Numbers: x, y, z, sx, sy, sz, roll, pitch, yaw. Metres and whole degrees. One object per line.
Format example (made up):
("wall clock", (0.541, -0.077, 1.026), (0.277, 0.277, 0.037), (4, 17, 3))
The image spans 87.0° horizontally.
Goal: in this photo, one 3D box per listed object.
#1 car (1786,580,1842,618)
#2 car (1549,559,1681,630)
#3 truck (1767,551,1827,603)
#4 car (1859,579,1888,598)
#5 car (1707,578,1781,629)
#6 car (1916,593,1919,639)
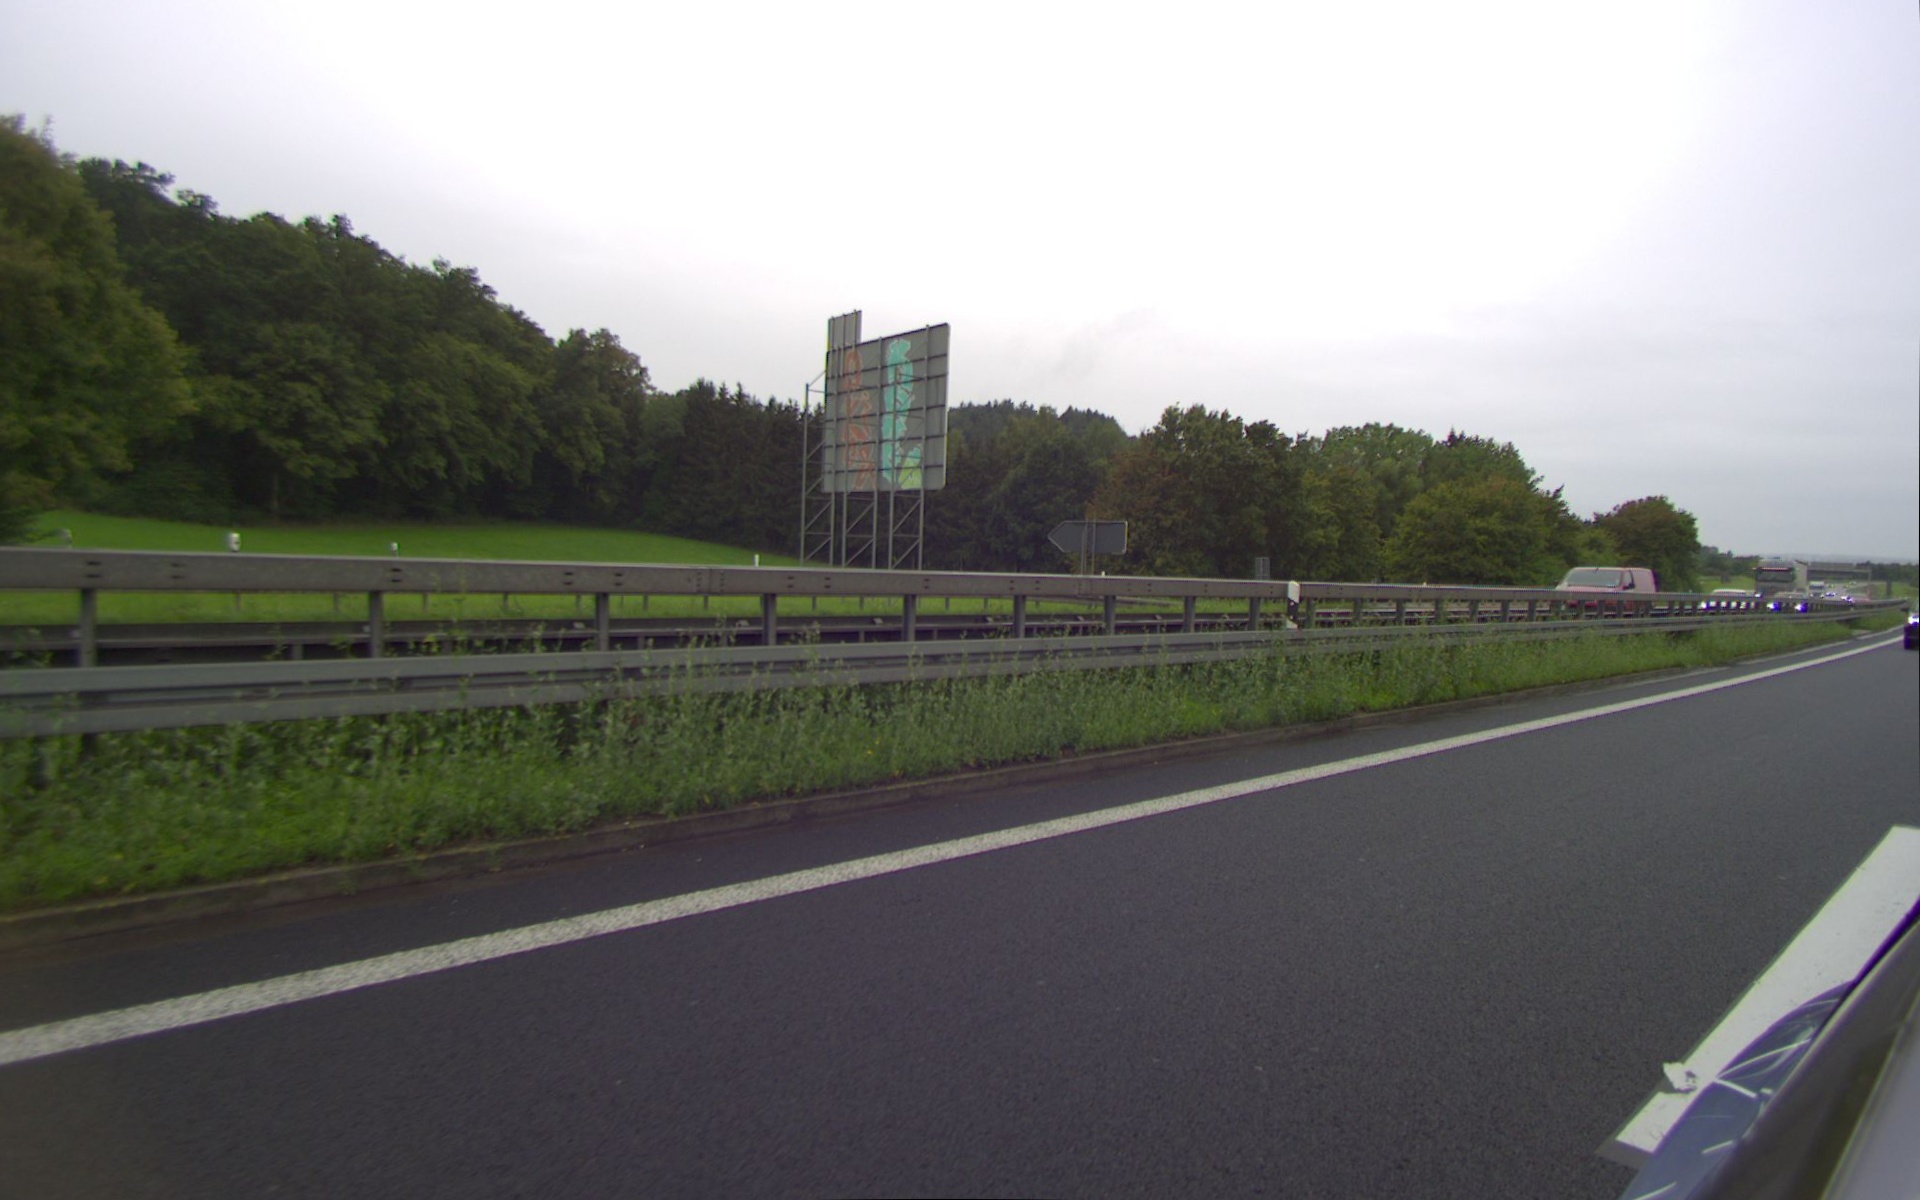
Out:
("car", (47.438, -0.093, 56.203), (4.421, 2.038, 1.750), (-1, 2, -42))
("car", (20.570, -0.213, 31.701), (4.988, 2.038, 2.129), (-1, 2, -41))
("truck", (67.500, -1.825, 81.525), (2.793, 3.949, 9.867), (2, 2, 45))
("car", (100.416, -1.267, 111.237), (4.420, 2.038, 1.751), (-1, 2, -41))
("car", (33.797, 0.110, 43.573), (4.422, 2.038, 1.750), (-1, 2, -42))
("car", (30.882, 0.484, 31.099), (4.490, 1.373, 1.865), (-1, 2, -43))
